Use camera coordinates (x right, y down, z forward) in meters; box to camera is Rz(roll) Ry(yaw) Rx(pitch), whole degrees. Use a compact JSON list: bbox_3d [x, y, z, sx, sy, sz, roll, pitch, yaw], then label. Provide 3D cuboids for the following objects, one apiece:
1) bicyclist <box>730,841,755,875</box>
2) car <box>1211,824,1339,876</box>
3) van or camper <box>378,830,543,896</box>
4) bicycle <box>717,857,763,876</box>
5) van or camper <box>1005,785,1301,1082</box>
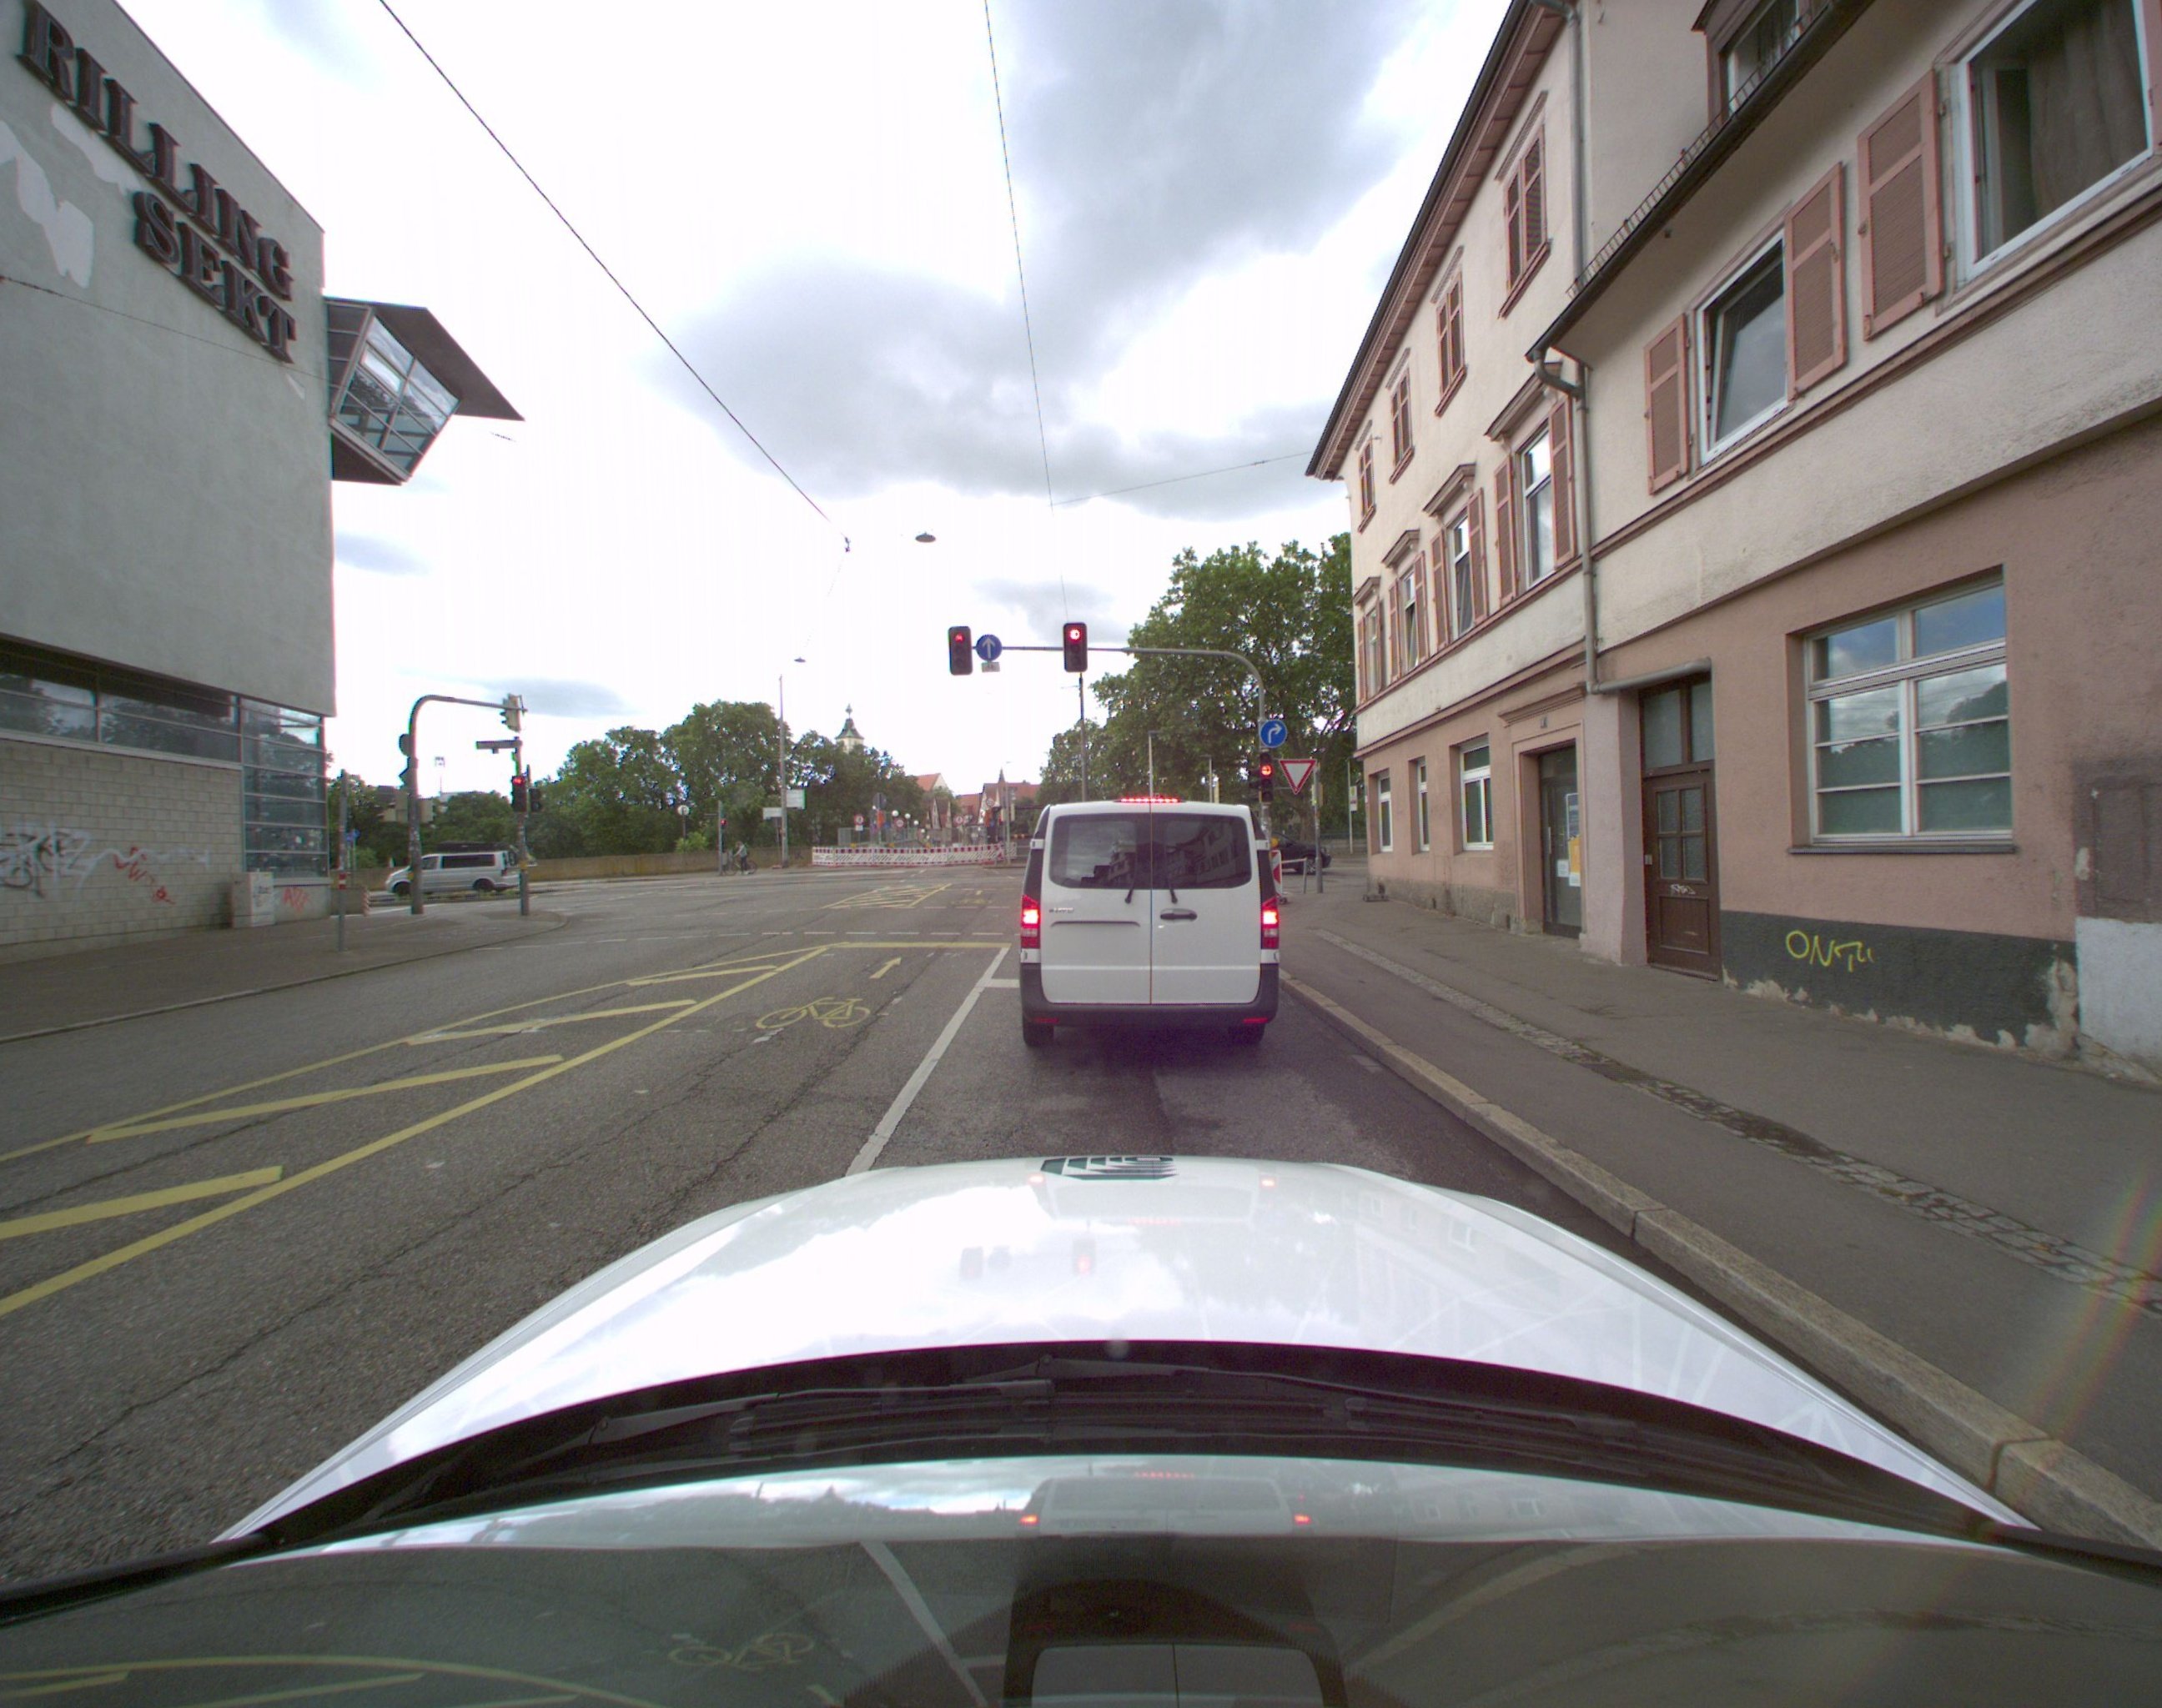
[{"bbox_3d":[-18.112,0.200,43.542,1.010,1.743,0.746,-2,1,-39],"label":"bicyclist"},{"bbox_3d":[6.622,-0.161,28.127,4.051,1.573,1.831,-2,2,4],"label":"car"},{"bbox_3d":[-27.840,0.394,36.773,5.406,2.513,2.024,-4,-1,-18],"label":"van or camper"},{"bbox_3d":[-18.199,0.646,43.483,2.149,0.892,0.751,-3,2,-39],"label":"bicycle"},{"bbox_3d":[0.438,0.447,7.541,1.932,1.924,4.439,0,2,-1],"label":"van or camper"}]
